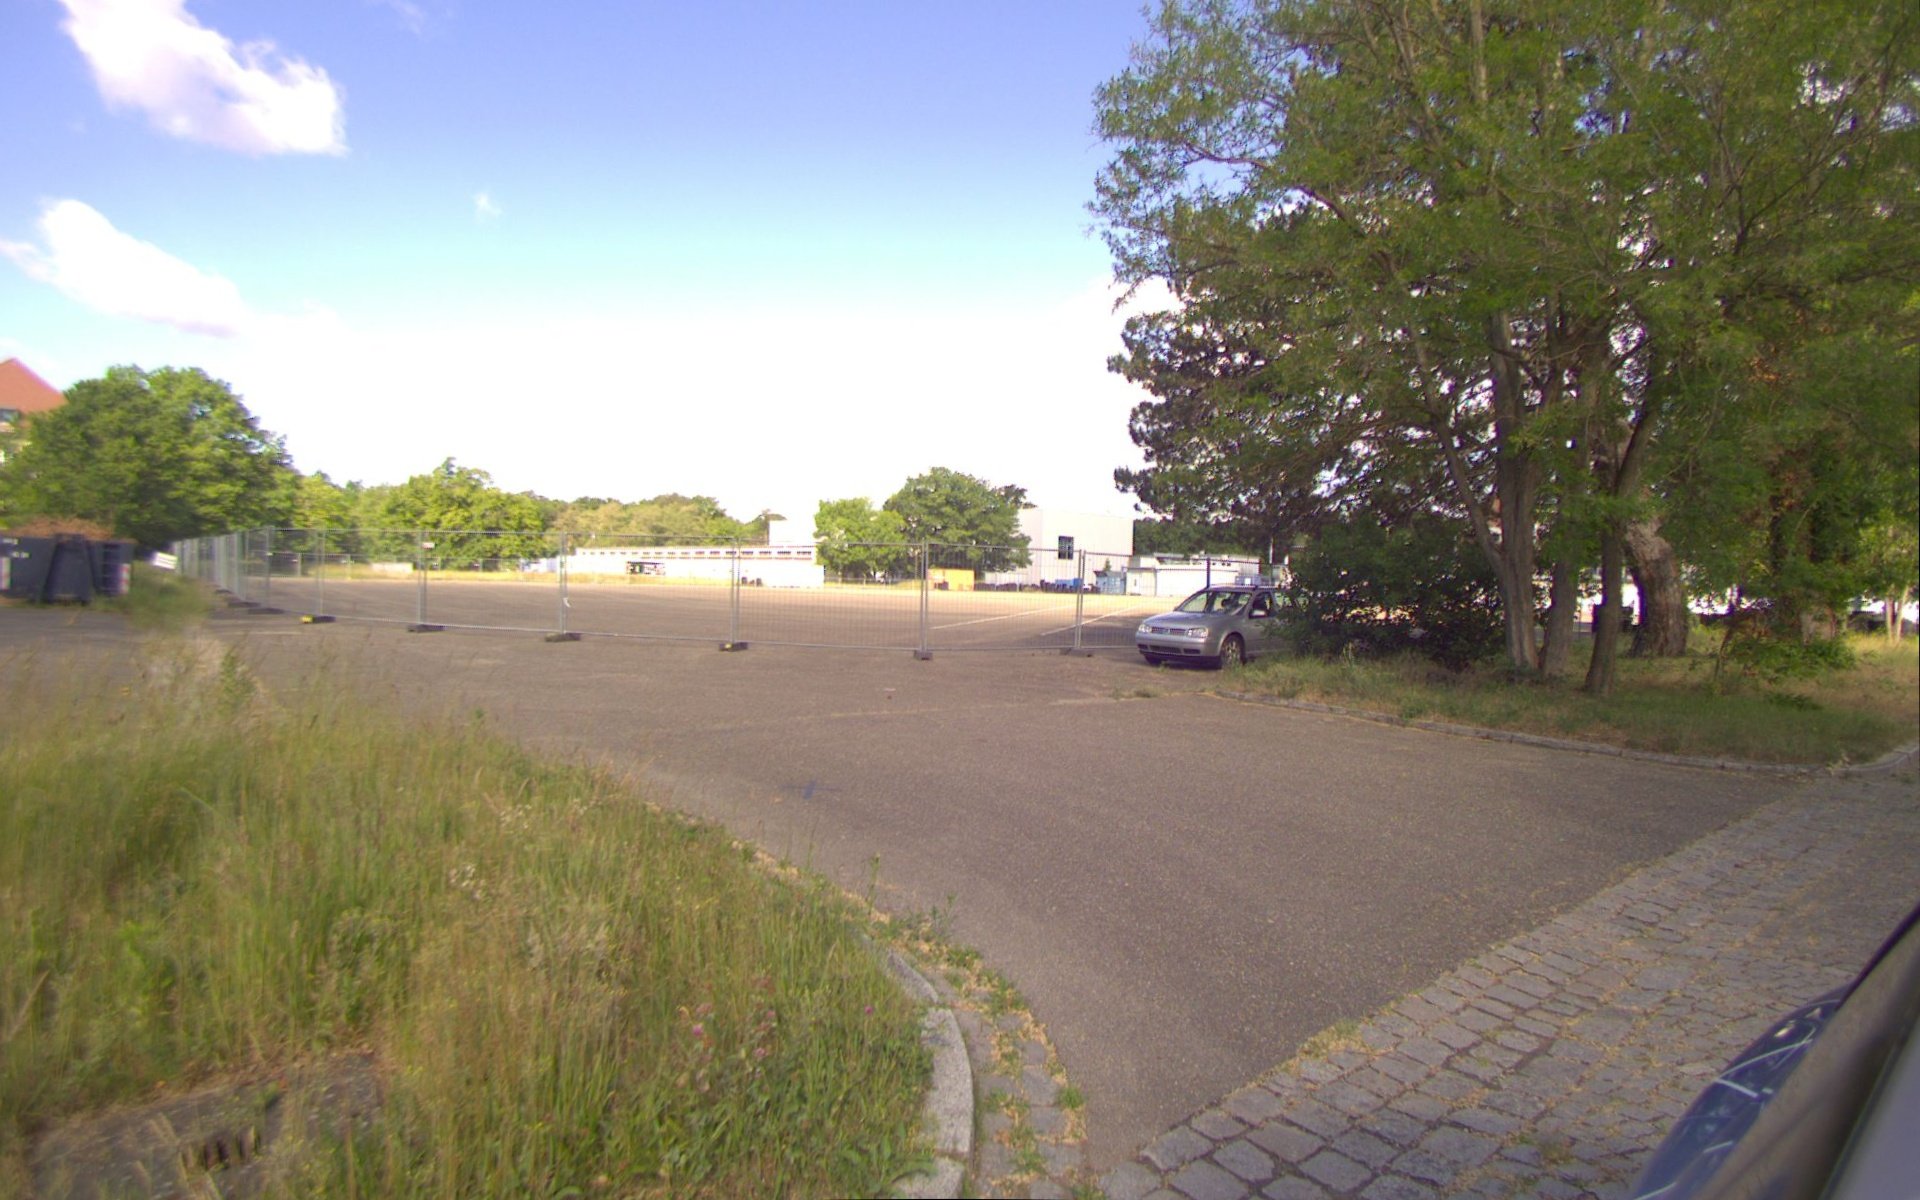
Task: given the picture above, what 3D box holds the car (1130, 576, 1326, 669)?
[{"bbox_3d":[4.913,0.362,18.277,3.920,1.461,1.576,0,2,-43],"label":"car"}]
